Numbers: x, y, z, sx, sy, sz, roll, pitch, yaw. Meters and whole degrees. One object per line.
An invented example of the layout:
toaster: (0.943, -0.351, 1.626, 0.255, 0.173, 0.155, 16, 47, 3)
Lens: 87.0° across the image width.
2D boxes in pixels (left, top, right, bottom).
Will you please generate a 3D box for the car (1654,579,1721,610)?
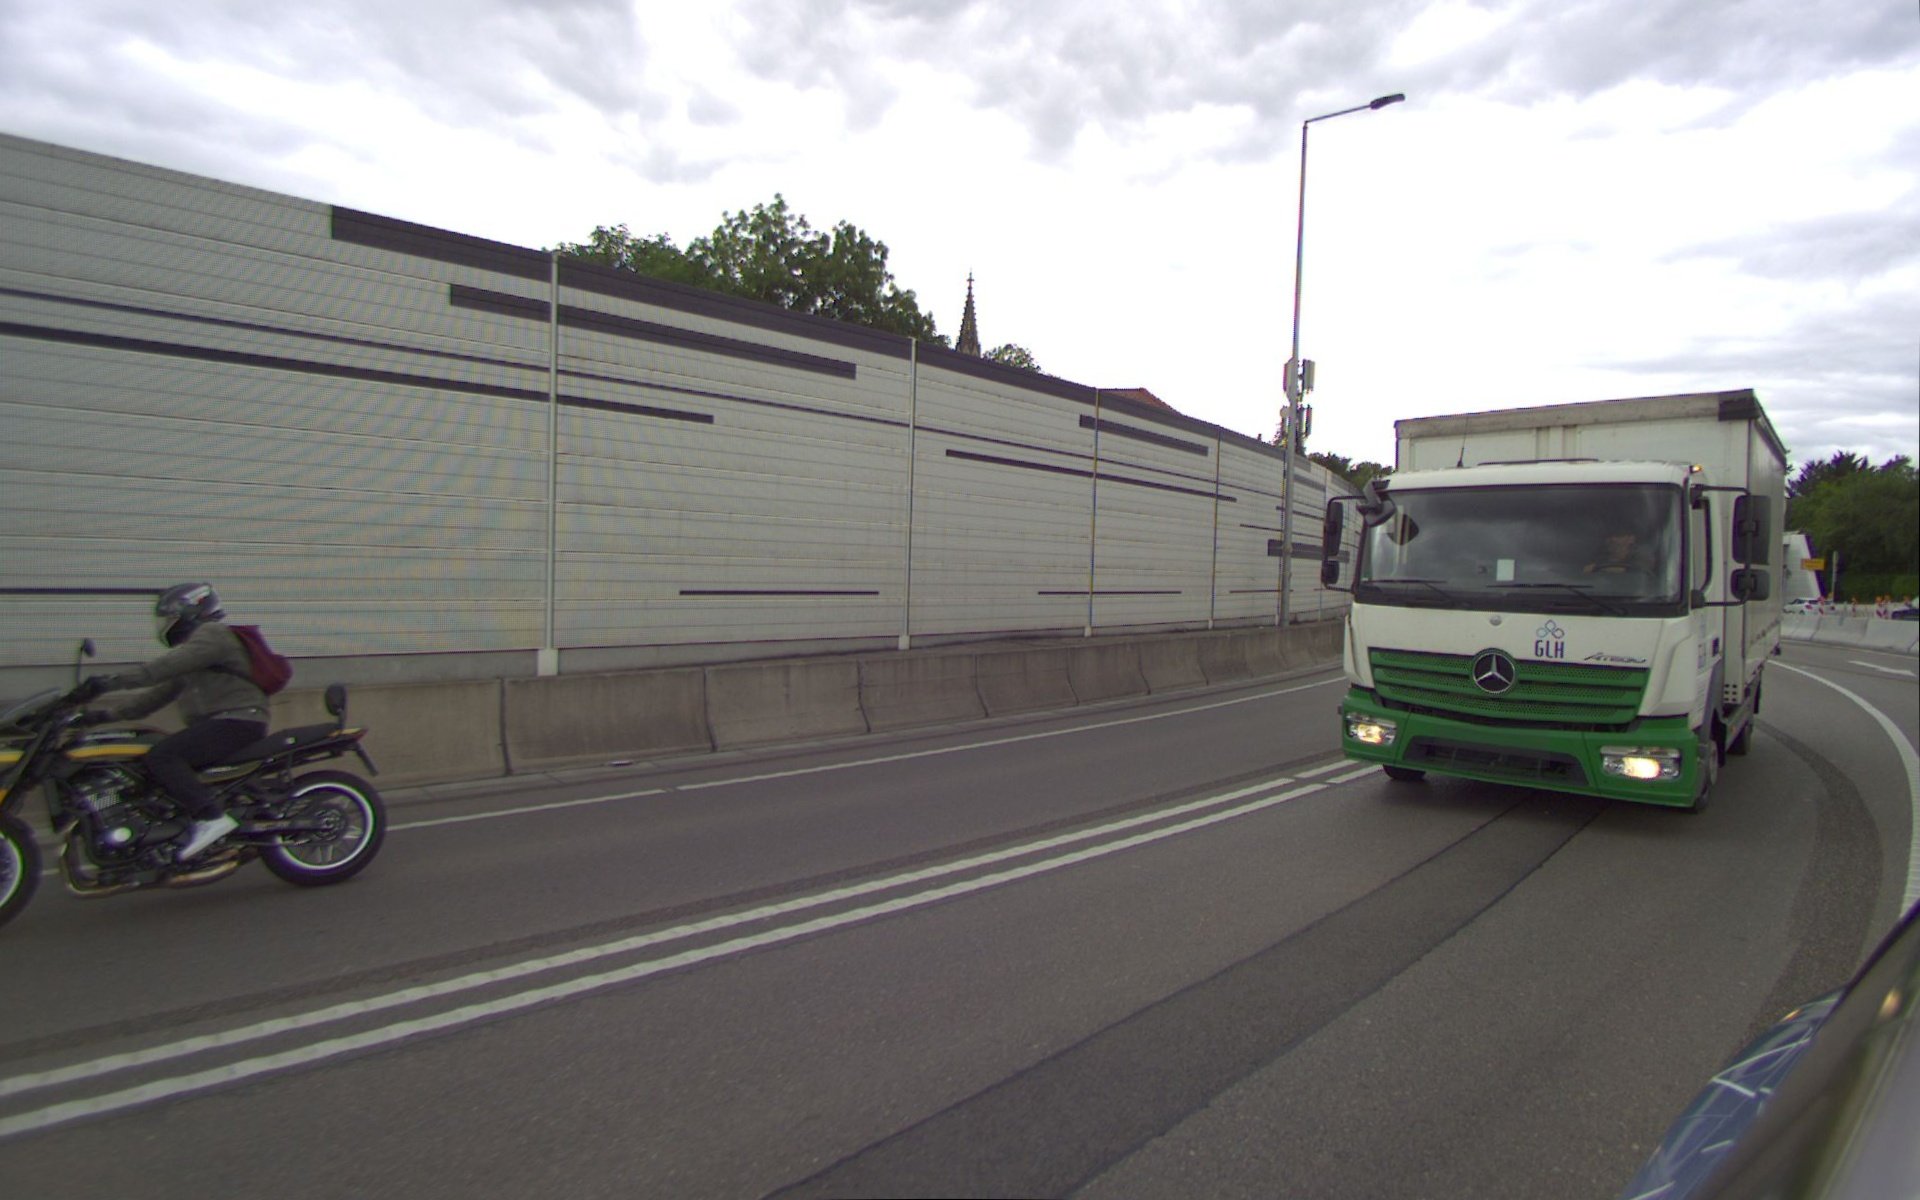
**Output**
car: (45.301, -0.363, 63.112, 1.932, 1.771, 5.242, 2, 2, 19)

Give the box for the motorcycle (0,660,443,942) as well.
motorcycle: (-4.118, 0.945, 5.073, 2.619, 1.097, 0.745, -1, 2, -42)

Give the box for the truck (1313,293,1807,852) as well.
truck: (6.112, -0.214, 9.562, 2.628, 3.279, 7.303, 1, 1, 42)

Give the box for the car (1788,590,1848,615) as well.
car: (56.677, 0.151, 66.940, 1.745, 1.452, 4.114, 2, 2, 22)

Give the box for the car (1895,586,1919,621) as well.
car: (47.034, 0.189, 48.077, 1.974, 1.716, 4.898, 1, 1, 19)

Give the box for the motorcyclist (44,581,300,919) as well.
motorcyclist: (-4.025, 0.663, 5.176, 0.950, 1.495, 0.914, 1, 1, -42)
